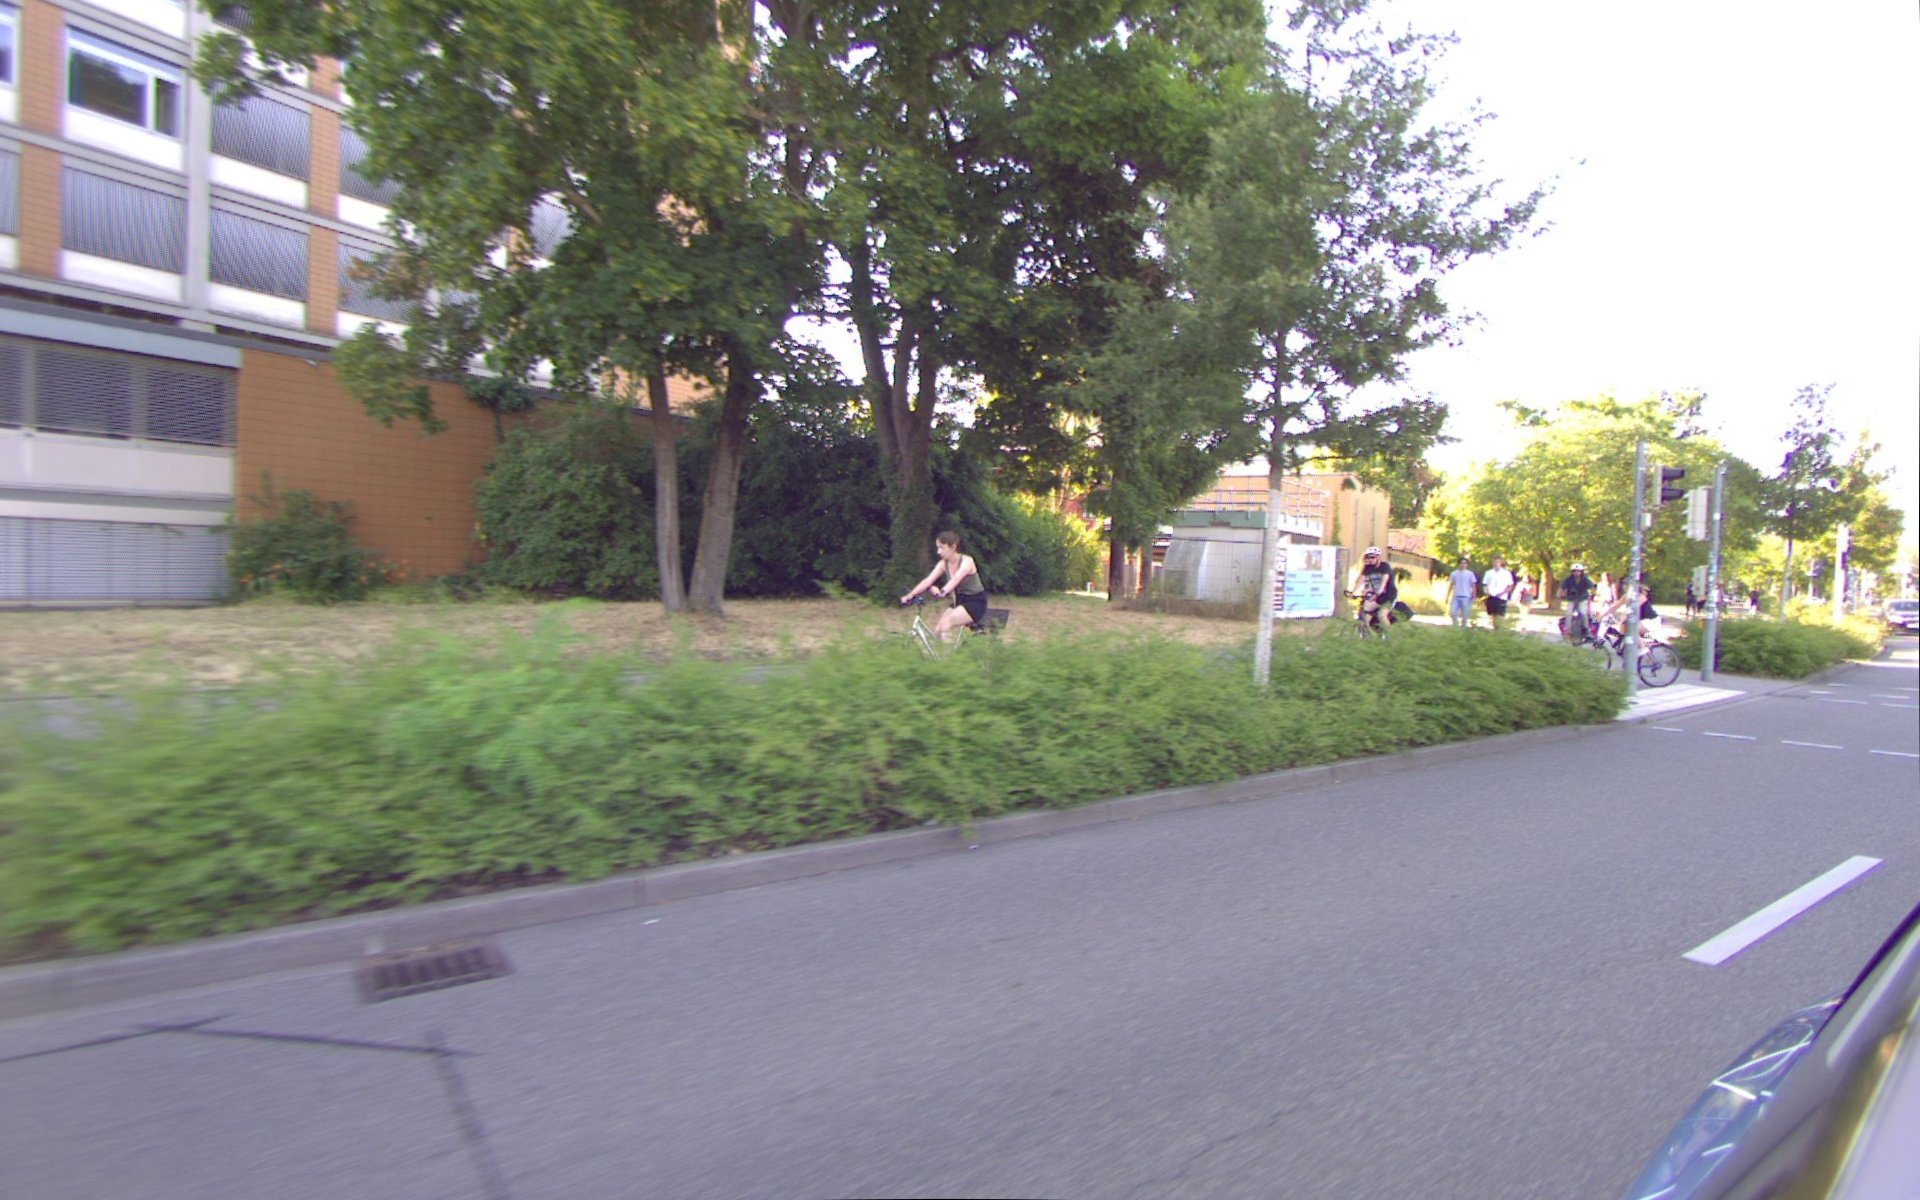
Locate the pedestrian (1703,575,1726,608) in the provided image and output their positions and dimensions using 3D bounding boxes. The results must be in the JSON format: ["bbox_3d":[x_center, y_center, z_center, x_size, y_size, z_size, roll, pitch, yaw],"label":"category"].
[{"bbox_3d":[36.952,-0.426,49.587,0.757,1.562,0.838,3,2,31],"label":"pedestrian"}]

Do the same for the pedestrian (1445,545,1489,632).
[{"bbox_3d":[11.232,-0.267,22.434,0.610,1.892,0.577,2,2,-2],"label":"pedestrian"}]

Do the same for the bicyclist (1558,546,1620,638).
[{"bbox_3d":[13.056,-0.178,21.005,1.074,1.856,0.779,0,2,-43],"label":"bicyclist"}]

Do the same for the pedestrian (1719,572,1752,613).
[{"bbox_3d":[34.756,-0.333,45.380,1.011,1.770,0.840,3,2,32],"label":"pedestrian"}]

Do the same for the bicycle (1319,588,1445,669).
[{"bbox_3d":[6.664,0.415,15.937,2.249,1.170,0.780,0,2,-37],"label":"bicycle"}]

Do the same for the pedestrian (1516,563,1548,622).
[{"bbox_3d":[15.690,-0.211,27.756,0.619,1.594,0.631,3,2,37],"label":"pedestrian"}]

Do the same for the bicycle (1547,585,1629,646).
[{"bbox_3d":[13.116,0.301,21.091,2.537,1.170,0.779,0,3,-43],"label":"bicycle"}]

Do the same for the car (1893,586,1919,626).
[{"bbox_3d":[38.864,0.252,40.627,1.796,1.537,3.942,3,3,40],"label":"car"}]

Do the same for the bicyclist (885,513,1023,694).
[{"bbox_3d":[-0.057,0.006,10.207,1.074,1.697,0.780,-1,5,-42],"label":"bicyclist"}]

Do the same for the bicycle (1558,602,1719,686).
[{"bbox_3d":[10.220,0.643,15.313,1.839,1.135,0.717,3,0,10],"label":"bicycle"}]

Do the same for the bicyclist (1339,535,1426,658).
[{"bbox_3d":[6.634,-0.069,15.888,1.073,1.853,0.780,0,2,-37],"label":"bicyclist"}]

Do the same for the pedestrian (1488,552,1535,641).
[{"bbox_3d":[12.023,-0.090,22.084,0.610,1.892,0.577,2,2,-2],"label":"pedestrian"}]

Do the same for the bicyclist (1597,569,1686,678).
[{"bbox_3d":[10.284,0.342,15.302,0.836,1.568,0.715,3,0,10],"label":"bicyclist"}]

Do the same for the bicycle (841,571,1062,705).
[{"bbox_3d":[-0.040,0.325,10.249,2.252,1.169,0.780,-1,6,-42],"label":"bicycle"}]

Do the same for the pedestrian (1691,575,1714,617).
[{"bbox_3d":[31.059,-0.175,42.345,0.709,1.734,0.724,3,2,37],"label":"pedestrian"}]

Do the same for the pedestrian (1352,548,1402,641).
[{"bbox_3d":[7.979,-0.118,19.364,0.620,1.720,0.621,0,2,-44],"label":"pedestrian"}]

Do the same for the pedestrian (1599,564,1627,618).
[{"bbox_3d":[21.419,-0.311,33.203,0.671,1.725,0.867,3,2,32],"label":"pedestrian"}]
